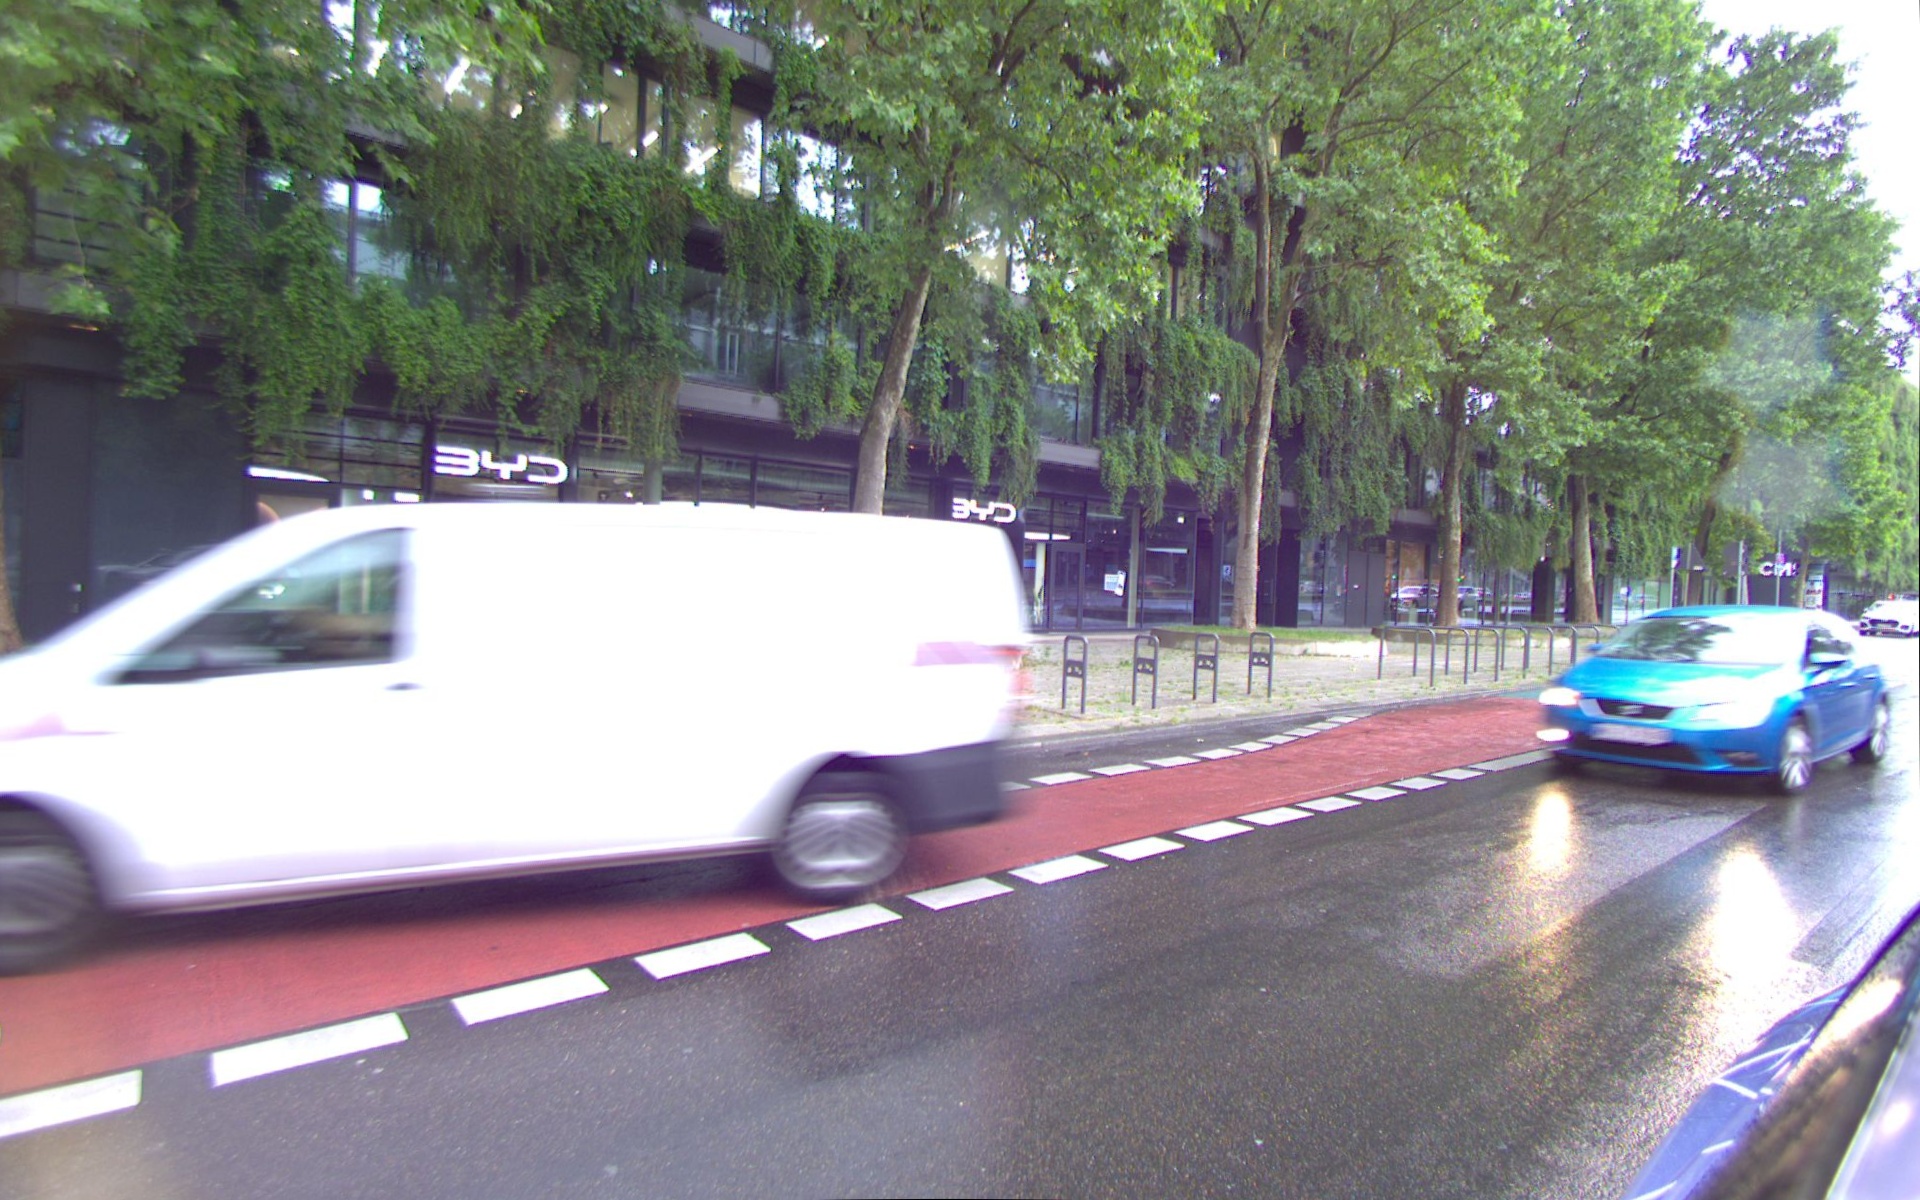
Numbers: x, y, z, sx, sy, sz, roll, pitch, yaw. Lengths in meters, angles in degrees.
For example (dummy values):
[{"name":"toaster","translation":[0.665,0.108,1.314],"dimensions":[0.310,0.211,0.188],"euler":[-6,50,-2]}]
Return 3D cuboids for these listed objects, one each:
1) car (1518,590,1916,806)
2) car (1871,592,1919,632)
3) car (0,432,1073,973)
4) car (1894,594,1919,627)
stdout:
[{"name":"car","translation":[6.841,0.665,9.021],"dimensions":[3.987,1.453,1.801],"euler":[-1,2,-37]},{"name":"car","translation":[44.570,0.543,47.668],"dimensions":[4.519,1.757,1.931],"euler":[-1,1,-41]},{"name":"car","translation":[-2.063,0.365,5.140],"dimensions":[4.859,1.970,1.930],"euler":[0,0,-17]},{"name":"car","translation":[49.248,0.531,51.379],"dimensions":[4.503,1.581,2.035],"euler":[-1,1,-39]}]
